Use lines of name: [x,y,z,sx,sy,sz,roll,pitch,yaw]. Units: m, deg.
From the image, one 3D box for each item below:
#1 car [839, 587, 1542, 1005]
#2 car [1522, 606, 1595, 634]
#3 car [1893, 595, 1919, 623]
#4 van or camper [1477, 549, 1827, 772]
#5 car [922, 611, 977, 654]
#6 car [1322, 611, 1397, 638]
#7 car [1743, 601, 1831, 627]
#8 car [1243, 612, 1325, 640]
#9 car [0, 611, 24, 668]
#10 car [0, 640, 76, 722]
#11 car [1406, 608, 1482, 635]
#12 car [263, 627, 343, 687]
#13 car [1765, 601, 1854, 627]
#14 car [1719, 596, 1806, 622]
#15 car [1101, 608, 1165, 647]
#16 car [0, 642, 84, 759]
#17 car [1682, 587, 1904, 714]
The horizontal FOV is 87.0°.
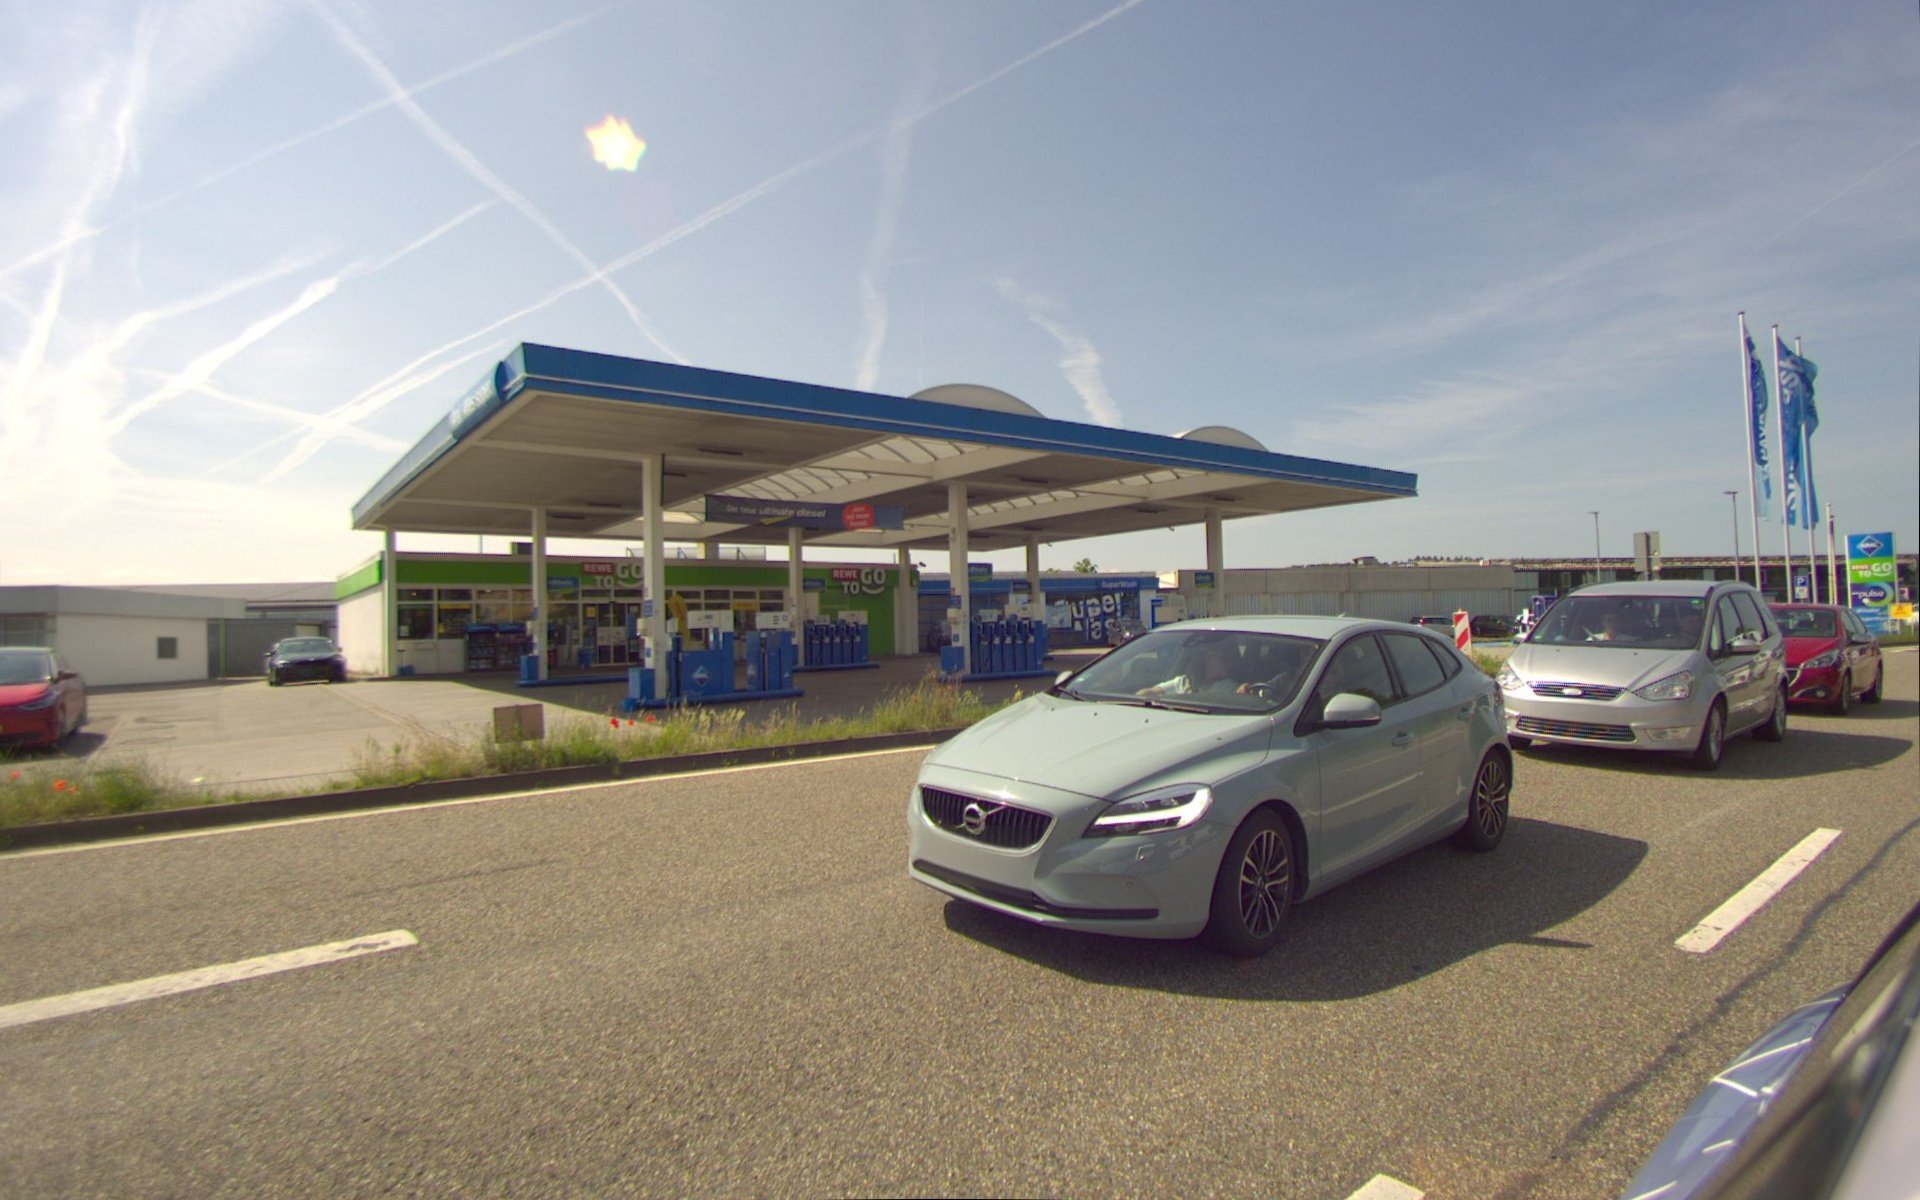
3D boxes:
car: [1.534,0.697,5.589,4.153,1.447,1.737,0,-2,-43]
car: [37.782,1.269,64.015,1.852,1.625,4.025,-1,-1,-7]
car: [57.320,0.518,58.806,1.784,1.659,4.266,1,-2,-15]
van or camper: [7.385,0.504,10.556,5.043,1.810,1.749,0,-2,-41]
car: [-0.547,1.594,48.271,1.864,1.849,4.739,-2,-3,-9]
car: [25.107,1.524,63.688,3.938,1.625,1.893,-1,-1,-10]
car: [55.013,0.930,67.433,1.785,1.659,4.471,1,-2,-9]
car: [19.996,1.593,62.452,4.436,1.625,1.893,-1,-1,-13]
car: [-27.069,1.064,26.434,3.795,1.461,1.709,0,0,-43]
car: [-19.521,1.628,21.167,1.536,1.513,4.334,0,-1,-41]
car: [30.883,1.383,64.634,3.940,1.625,1.892,-1,-1,-6]
car: [-20.008,1.680,30.754,1.722,1.659,3.996,0,-2,-38]
car: [56.828,0.965,67.787,1.785,1.659,4.471,1,-2,-9]
car: [53.156,0.635,67.139,1.785,1.659,4.471,1,-2,-9]
car: [8.648,1.356,50.960,1.851,1.849,4.177,-1,-1,-9]
car: [-15.070,1.510,15.852,1.773,1.592,3.913,0,-1,-37]
car: [12.071,0.624,14.609,3.647,1.592,1.805,0,0,-39]
